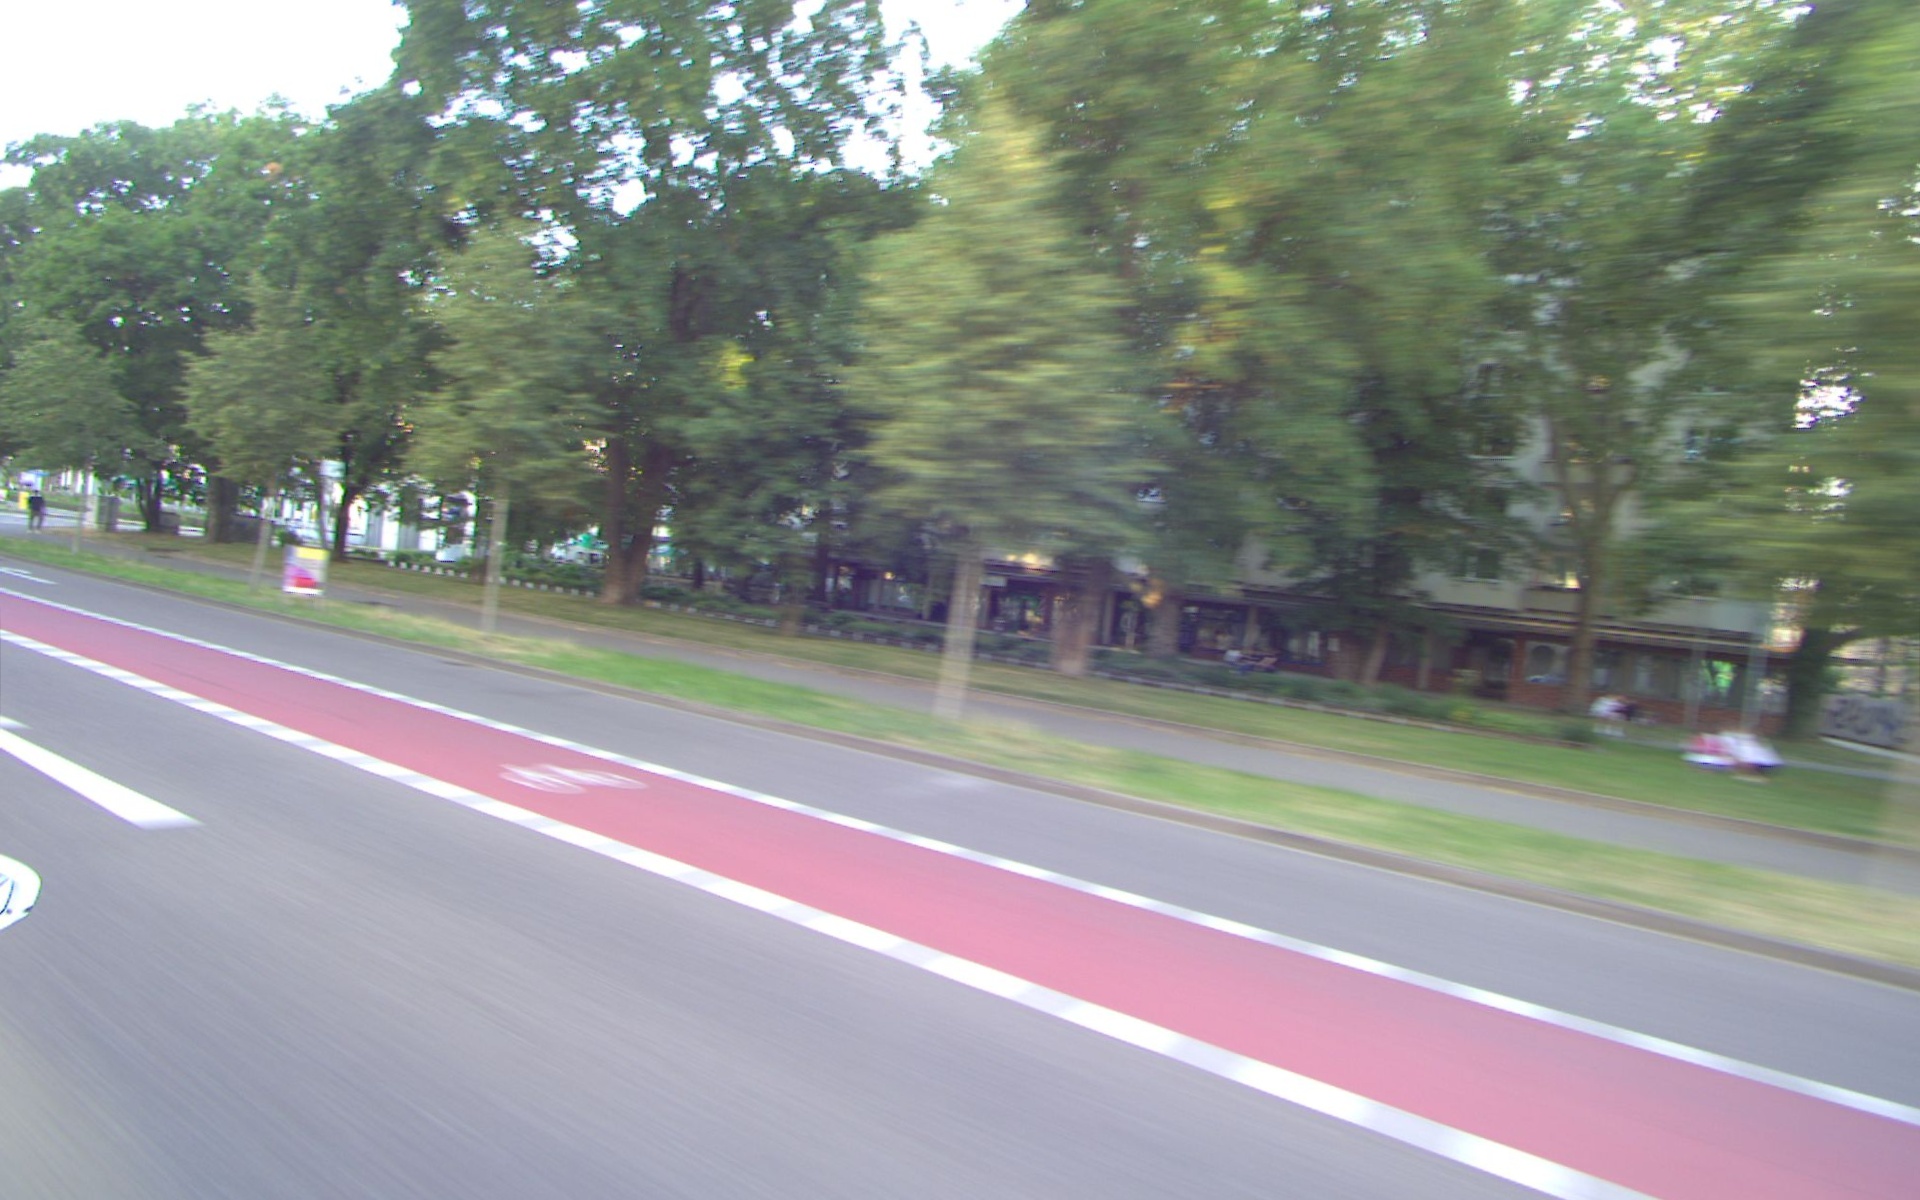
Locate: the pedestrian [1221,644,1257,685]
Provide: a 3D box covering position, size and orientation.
[{"bbox_3d":[9.413,2.177,33.924,0.714,1.276,1.132,7,1,34],"label":"pedestrian"}]

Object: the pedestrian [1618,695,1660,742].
[{"bbox_3d":[18.965,3.293,28.126,0.753,1.179,0.787,6,1,26],"label":"pedestrian"}]

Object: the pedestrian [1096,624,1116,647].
[{"bbox_3d":[8.020,1.928,55.192,0.688,1.179,0.786,6,1,33],"label":"pedestrian"}]

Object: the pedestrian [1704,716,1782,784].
[{"bbox_3d":[12.274,2.343,15.780,0.611,0.895,0.681,7,1,7],"label":"pedestrian"}]

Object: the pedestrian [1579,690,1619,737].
[{"bbox_3d":[18.119,3.213,28.540,0.753,1.179,0.787,6,1,26],"label":"pedestrian"}]

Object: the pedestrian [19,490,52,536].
[{"bbox_3d":[-36.285,-3.412,39.482,0.736,1.714,0.696,6,1,31],"label":"pedestrian"}]

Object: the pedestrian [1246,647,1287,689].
[{"bbox_3d":[10.149,2.266,33.345,0.891,1.276,1.132,6,1,34],"label":"pedestrian"}]

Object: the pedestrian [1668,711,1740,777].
[{"bbox_3d":[11.677,2.253,15.809,0.582,0.895,0.681,6,0,7],"label":"pedestrian"}]
